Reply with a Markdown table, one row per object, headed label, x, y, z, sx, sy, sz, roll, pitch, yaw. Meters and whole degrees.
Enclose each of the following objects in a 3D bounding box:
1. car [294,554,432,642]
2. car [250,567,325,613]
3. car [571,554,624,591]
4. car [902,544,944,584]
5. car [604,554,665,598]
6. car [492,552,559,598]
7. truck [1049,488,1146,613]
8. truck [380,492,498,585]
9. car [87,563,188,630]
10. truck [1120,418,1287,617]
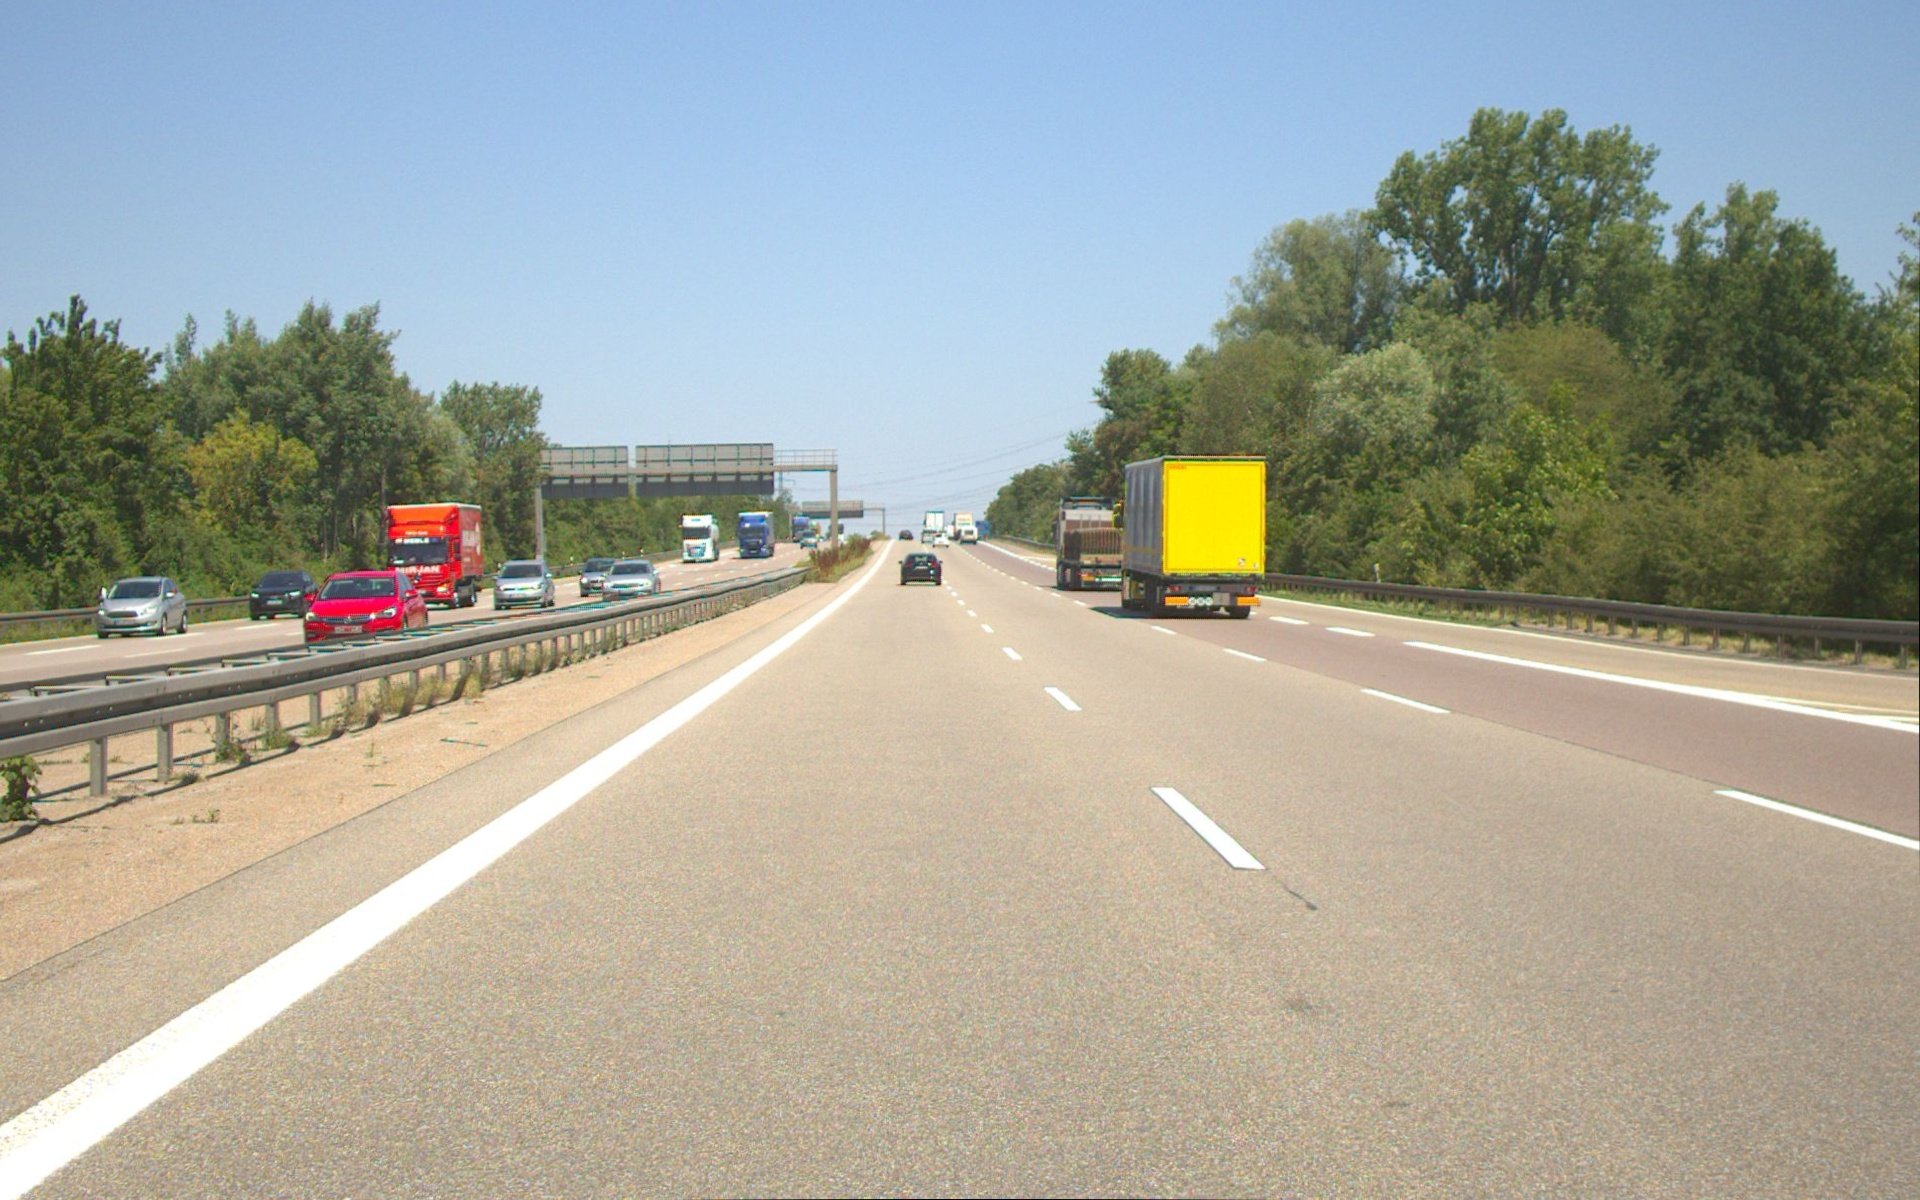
| label | x | y | z | sx | sy | sz | roll | pitch | yaw |
| --- | --- | --- | --- | --- | --- | --- | --- | --- | --- |
| car | -10.688 | -0.052 | 61.812 | 1.808 | 1.498 | 4.000 | -1 | 1 | -1 |
| car | -22.981 | -0.359 | 117.557 | 1.808 | 1.498 | 4.000 | -1 | 1 | -1 |
| car | -15.102 | -1.161 | 143.362 | 1.808 | 1.498 | 4.000 | -1 | 1 | -1 |
| car | -1.647 | -1.604 | 151.989 | 1.827 | 1.700 | 4.000 | 1 | 1 | -1 |
| car | -11.444 | -0.864 | 121.032 | 1.808 | 1.498 | 4.000 | -1 | 1 | -1 |
| car | -14.783 | -0.855 | 117.083 | 1.808 | 1.498 | 4.000 | -1 | 1 | -1 |
| truck | 5.595 | -2.036 | 142.881 | 3.367 | 4.864 | 15.086 | 1 | 1 | 0 |
| truck | -19.051 | -2.230 | 126.320 | 2.597 | 3.201 | 12.125 | 1 | 1 | -1 |
| car | -22.312 | -0.111 | 93.373 | 1.808 | 1.766 | 4.000 | -1 | 1 | -1 |
| truck | 6.377 | -2.127 | 92.580 | 3.377 | 4.864 | 15.086 | 1 | 1 | 0 |
